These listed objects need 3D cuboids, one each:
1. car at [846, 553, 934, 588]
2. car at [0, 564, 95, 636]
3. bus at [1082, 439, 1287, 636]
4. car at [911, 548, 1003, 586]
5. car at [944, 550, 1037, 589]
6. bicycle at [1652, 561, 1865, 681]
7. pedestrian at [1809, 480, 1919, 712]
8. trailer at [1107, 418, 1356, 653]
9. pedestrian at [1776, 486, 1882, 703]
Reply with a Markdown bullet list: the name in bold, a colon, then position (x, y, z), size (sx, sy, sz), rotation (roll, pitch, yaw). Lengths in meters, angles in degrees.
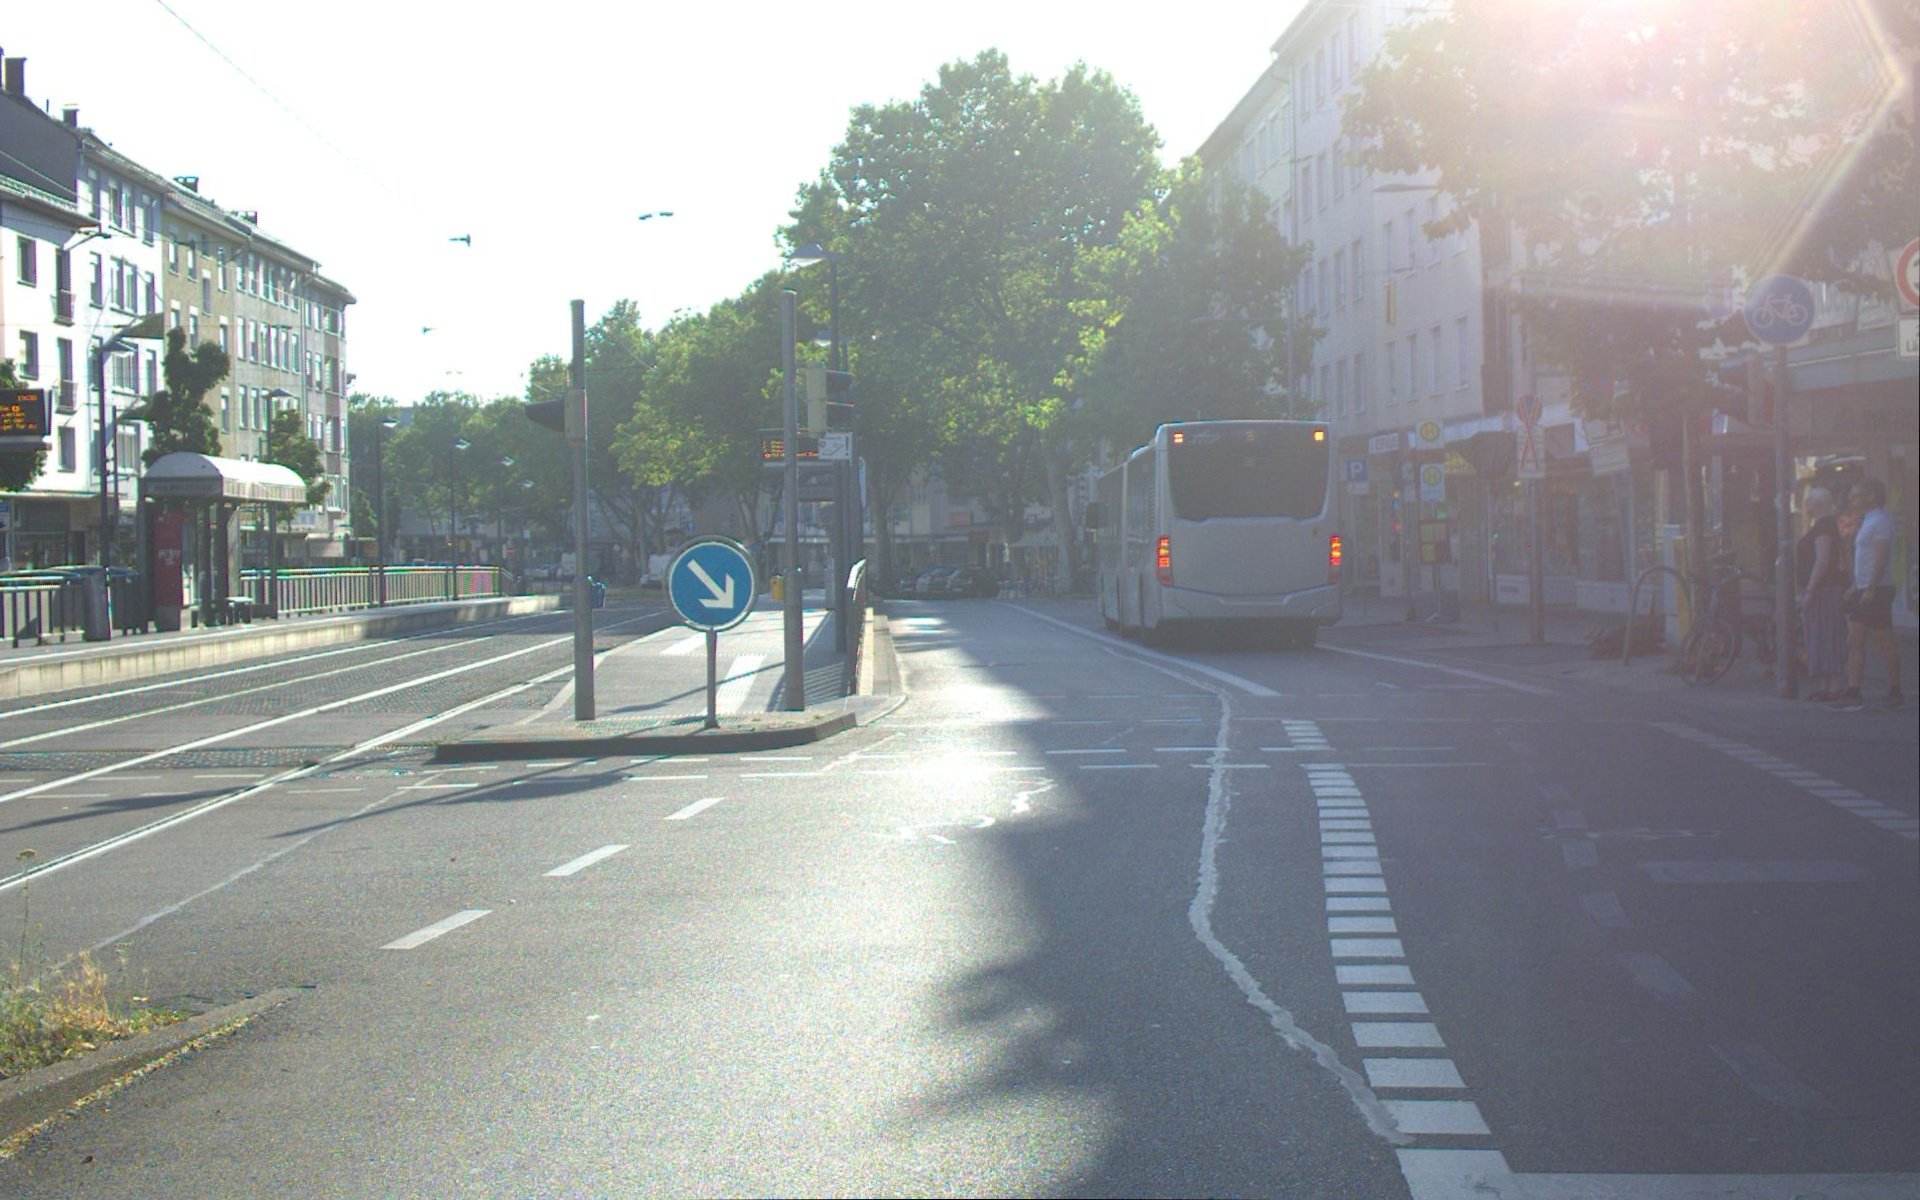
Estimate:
- **car**: position (-3.394, -1.431, 167.277), size (3.889, 1.591, 1.691), rotation (-2, 1, -29)
- **car**: position (-25.015, 0.003, 90.474), size (3.986, 1.809, 2.000), rotation (-2, 1, -27)
- **bus**: position (3.743, -1.079, 59.410), size (2.812, 3.091, 9.095), rotation (1, 1, -1)
- **car**: position (-0.146, -1.562, 162.134), size (3.889, 1.693, 1.833), rotation (-2, 1, -29)
- **car**: position (1.406, -1.424, 159.388), size (3.889, 1.693, 1.833), rotation (-2, 1, -29)
- **bicycle**: position (7.401, 0.189, 31.921), size (1.772, 1.018, 0.694), rotation (-2, 1, -1)
- **pedestrian**: position (7.020, -0.038, 26.669), size (0.680, 1.764, 0.687), rotation (-1, 1, 0)
- **trailer**: position (3.827, -0.942, 50.511), size (2.812, 3.099, 8.795), rotation (1, 1, -1)
- **pedestrian**: position (7.169, -0.051, 28.369), size (0.680, 1.764, 0.687), rotation (-1, 1, 0)
